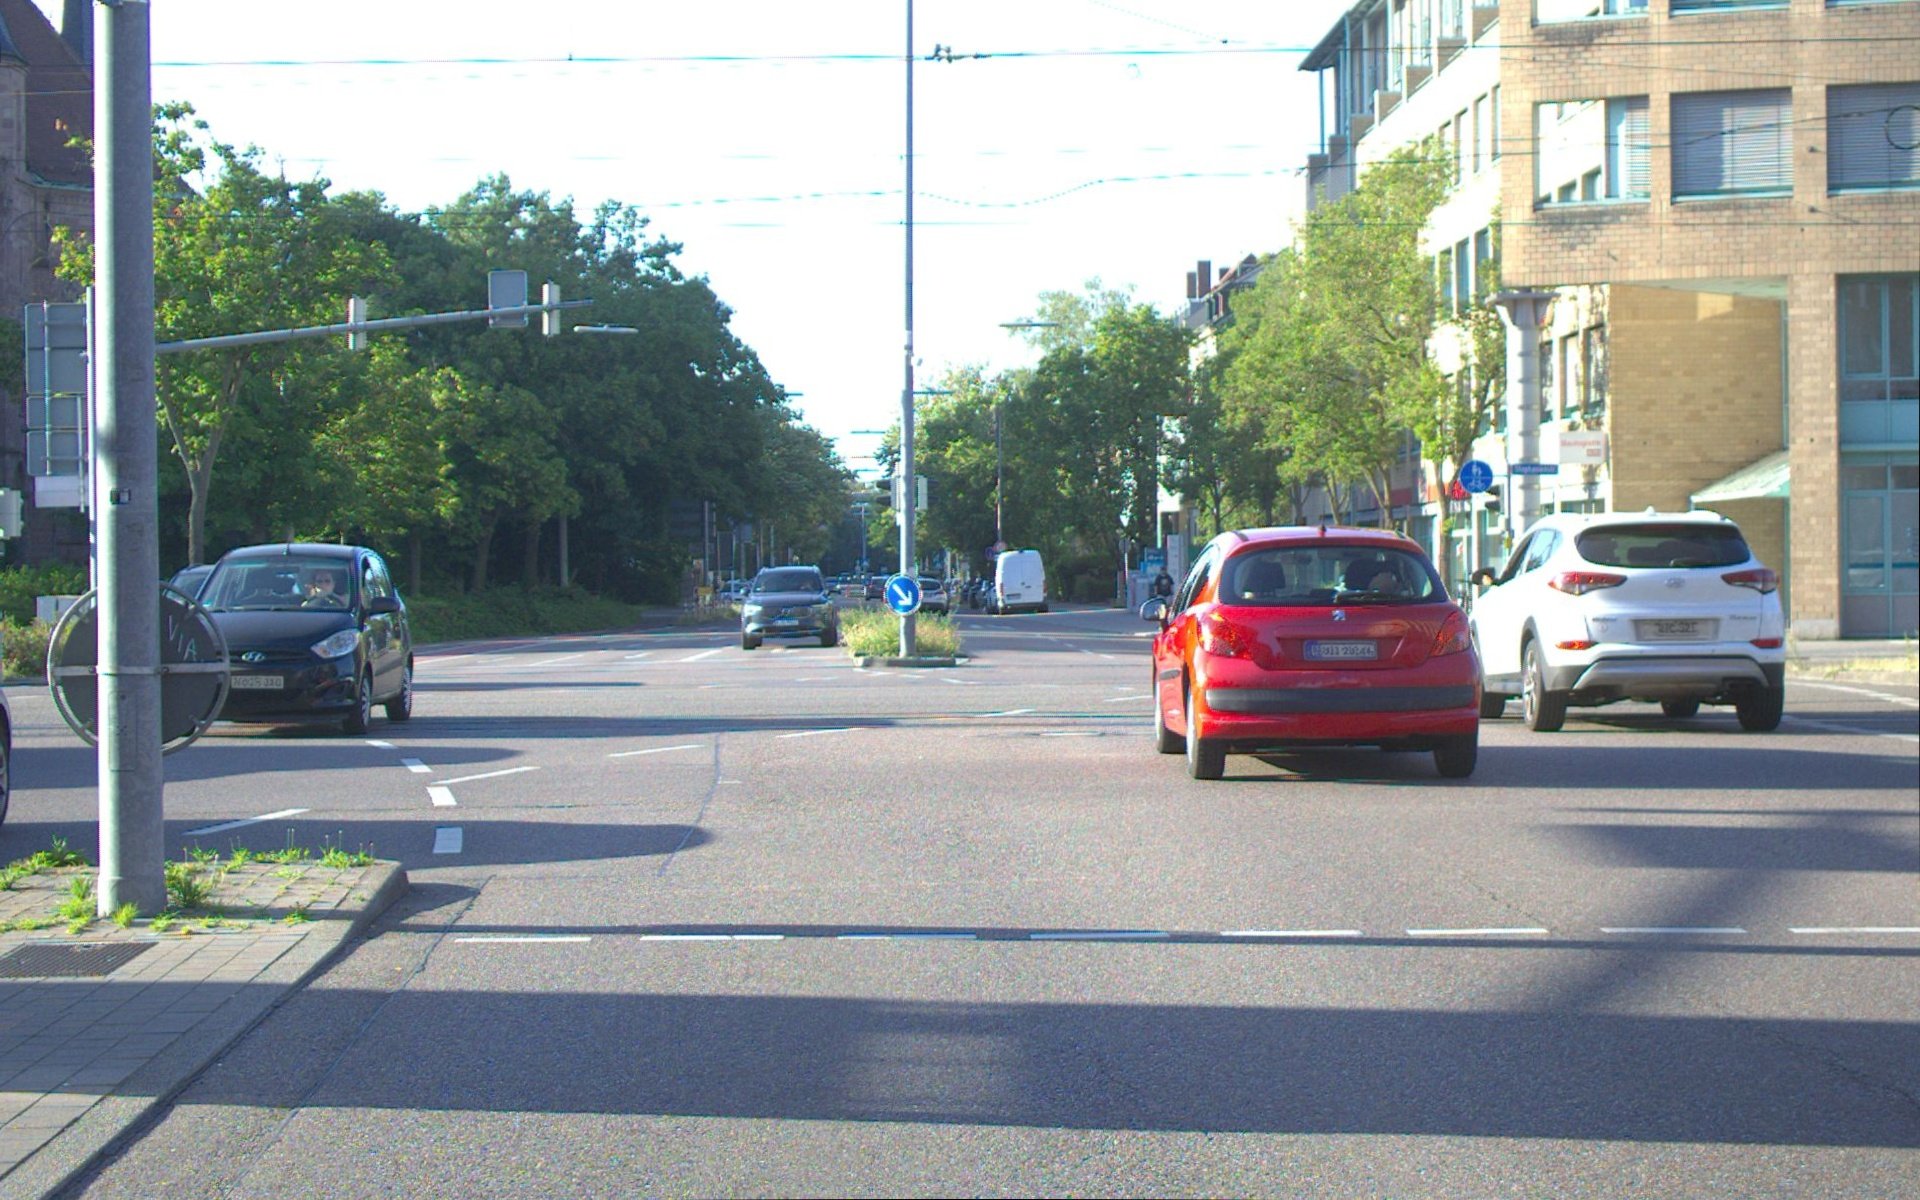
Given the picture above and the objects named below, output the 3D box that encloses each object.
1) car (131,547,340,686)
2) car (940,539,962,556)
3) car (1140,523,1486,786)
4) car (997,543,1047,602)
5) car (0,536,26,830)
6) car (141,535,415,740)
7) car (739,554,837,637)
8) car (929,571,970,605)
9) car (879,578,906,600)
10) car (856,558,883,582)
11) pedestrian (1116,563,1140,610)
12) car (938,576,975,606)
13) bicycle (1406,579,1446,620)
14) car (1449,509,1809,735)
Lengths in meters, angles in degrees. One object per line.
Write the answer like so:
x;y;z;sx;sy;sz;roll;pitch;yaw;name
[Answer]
-8.973;0.160;42.863;1.794;1.560;4.148;-1;2;-1;car
-0.661;-3.886;255.039;1.594;1.263;3.266;0;1;0;car
2.088;0.288;21.322;1.670;1.457;4.000;1;1;-1;car
2.588;-1.151;144.512;1.993;2.432;4.000;1;0;0;car
-5.860;0.492;16.564;1.675;1.539;3.806;-2;1;-1;car
-5.580;0.258;28.481;1.578;1.539;3.477;-2;1;-1;car
-3.710;-0.085;74.824;1.993;1.718;5.031;-1;0;-1;car
-0.415;-0.473;135.372;1.594;1.263;3.266;0;1;0;car
-4.184;-0.682;212.948;1.594;1.263;3.266;0;1;0;car
-6.611;-2.186;251.112;1.886;1.665;4.000;1;0;0;car
6.379;-0.513;130.701;0.847;1.797;0.776;0;1;-1;pedestrian
-0.161;-0.405;150.608;1.594;1.263;3.266;0;1;0;car
11.464;-0.024;84.557;0.646;0.991;2.081;0;0;-1;bicycle
5.124;0.139;26.896;1.916;1.602;4.270;1;1;-1;car
